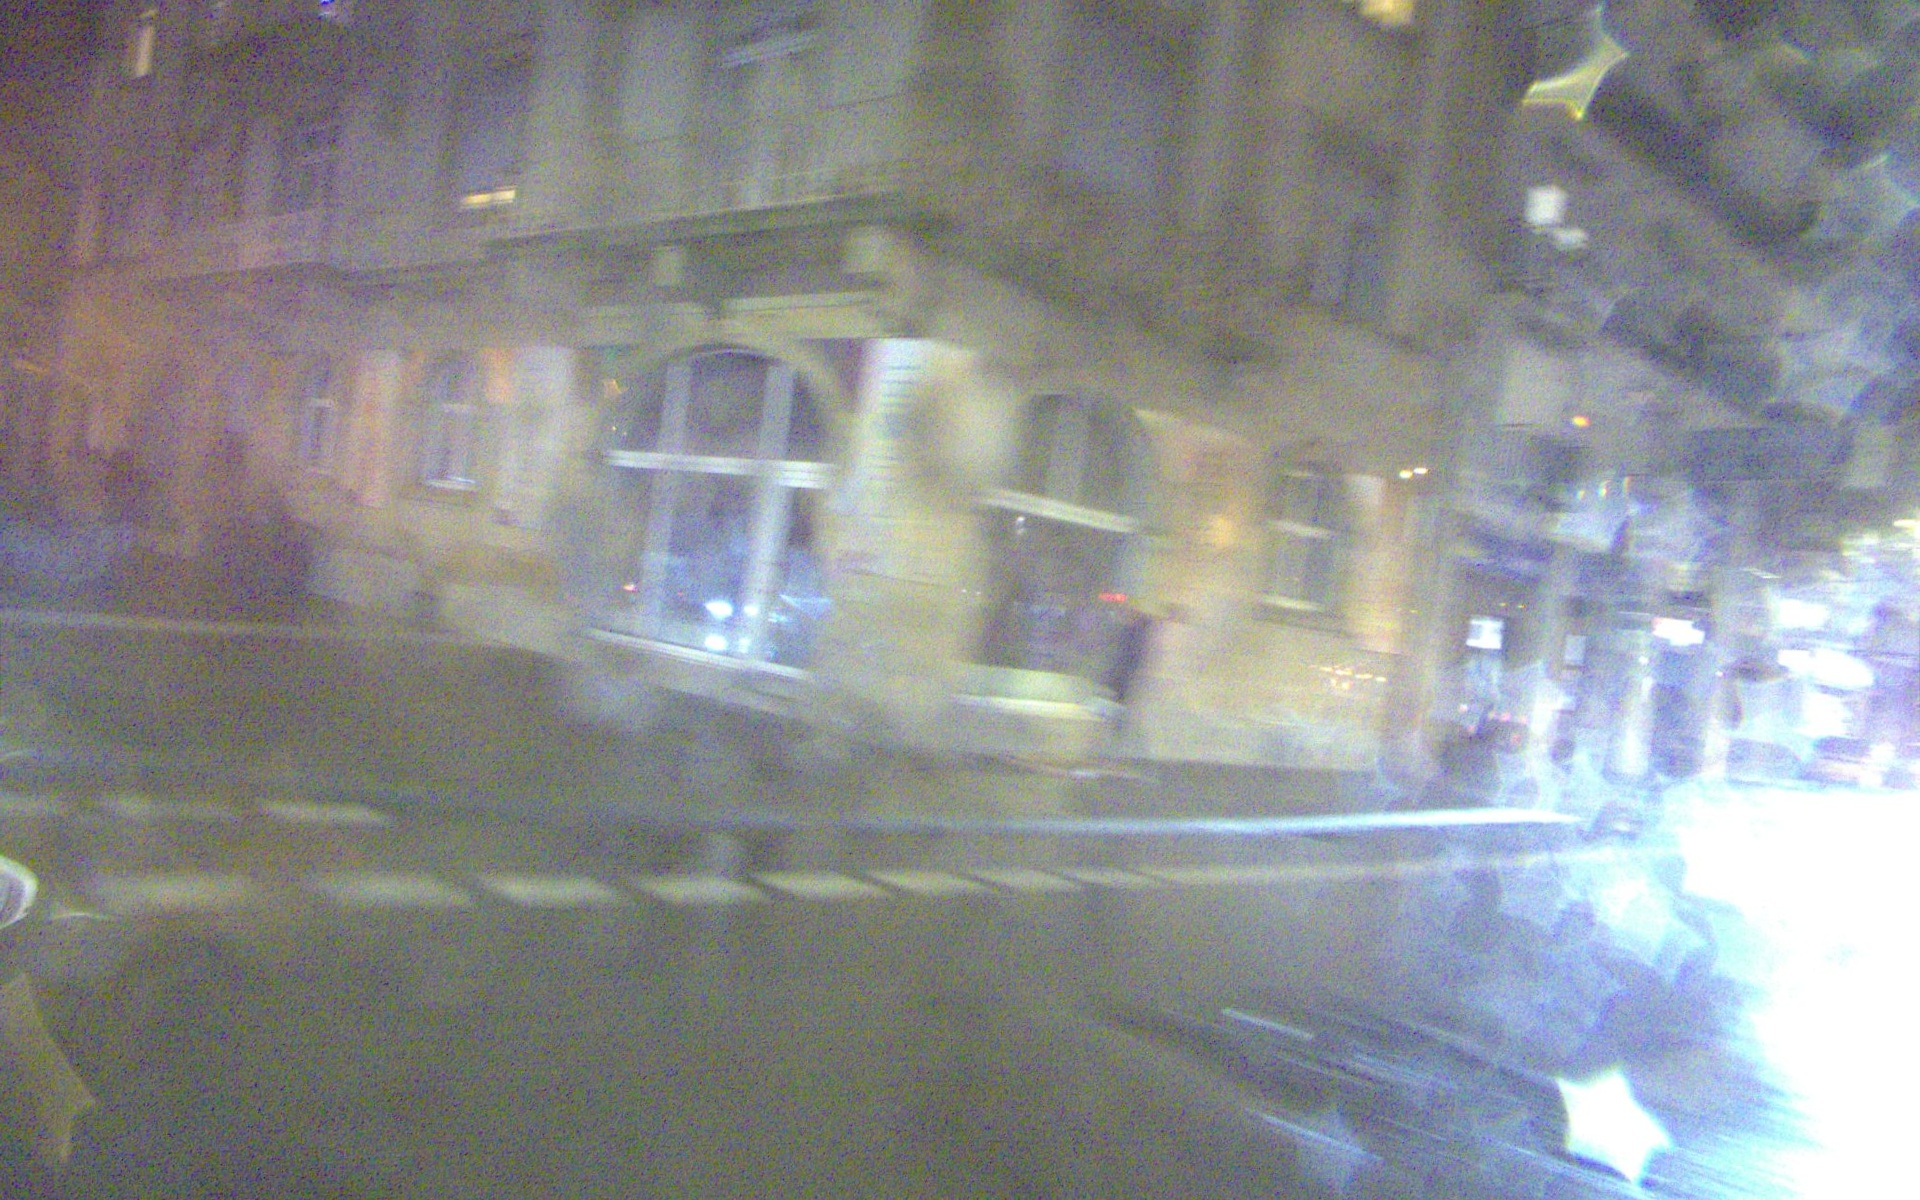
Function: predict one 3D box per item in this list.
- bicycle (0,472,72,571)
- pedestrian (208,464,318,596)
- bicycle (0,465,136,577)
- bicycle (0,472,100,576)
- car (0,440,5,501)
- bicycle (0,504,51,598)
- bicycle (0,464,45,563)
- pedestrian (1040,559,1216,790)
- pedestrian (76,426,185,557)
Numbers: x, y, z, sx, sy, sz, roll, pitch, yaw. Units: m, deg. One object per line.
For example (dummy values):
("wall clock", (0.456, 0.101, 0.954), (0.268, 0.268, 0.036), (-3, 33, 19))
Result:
("bicycle", (-13.084, -1.098, 13.294), (0.585, 1.268, 1.899), (8, 2, 27))
("pedestrian", (-9.554, -0.956, 13.786), (0.983, 1.638, 0.781), (9, 2, 32))
("bicycle", (-11.628, -1.002, 12.556), (0.698, 1.268, 1.899), (8, 2, 27))
("bicycle", (-12.415, -1.013, 12.963), (0.585, 1.268, 1.899), (8, 2, 27))
("car", (-17.108, -2.014, 15.035), (1.825, 1.476, 4.177), (8, 2, -6))
("bicycle", (-13.704, -0.721, 13.652), (0.585, 1.268, 1.899), (8, 2, 27))
("bicycle", (-14.159, -1.293, 14.050), (0.585, 1.378, 1.899), (8, 2, 27))
("pedestrian", (1.629, 0.726, 9.876), (0.968, 2.040, 1.005), (7, 5, -34))
("pedestrian", (-13.386, -1.734, 16.235), (0.983, 1.906, 0.958), (9, 2, 32))
